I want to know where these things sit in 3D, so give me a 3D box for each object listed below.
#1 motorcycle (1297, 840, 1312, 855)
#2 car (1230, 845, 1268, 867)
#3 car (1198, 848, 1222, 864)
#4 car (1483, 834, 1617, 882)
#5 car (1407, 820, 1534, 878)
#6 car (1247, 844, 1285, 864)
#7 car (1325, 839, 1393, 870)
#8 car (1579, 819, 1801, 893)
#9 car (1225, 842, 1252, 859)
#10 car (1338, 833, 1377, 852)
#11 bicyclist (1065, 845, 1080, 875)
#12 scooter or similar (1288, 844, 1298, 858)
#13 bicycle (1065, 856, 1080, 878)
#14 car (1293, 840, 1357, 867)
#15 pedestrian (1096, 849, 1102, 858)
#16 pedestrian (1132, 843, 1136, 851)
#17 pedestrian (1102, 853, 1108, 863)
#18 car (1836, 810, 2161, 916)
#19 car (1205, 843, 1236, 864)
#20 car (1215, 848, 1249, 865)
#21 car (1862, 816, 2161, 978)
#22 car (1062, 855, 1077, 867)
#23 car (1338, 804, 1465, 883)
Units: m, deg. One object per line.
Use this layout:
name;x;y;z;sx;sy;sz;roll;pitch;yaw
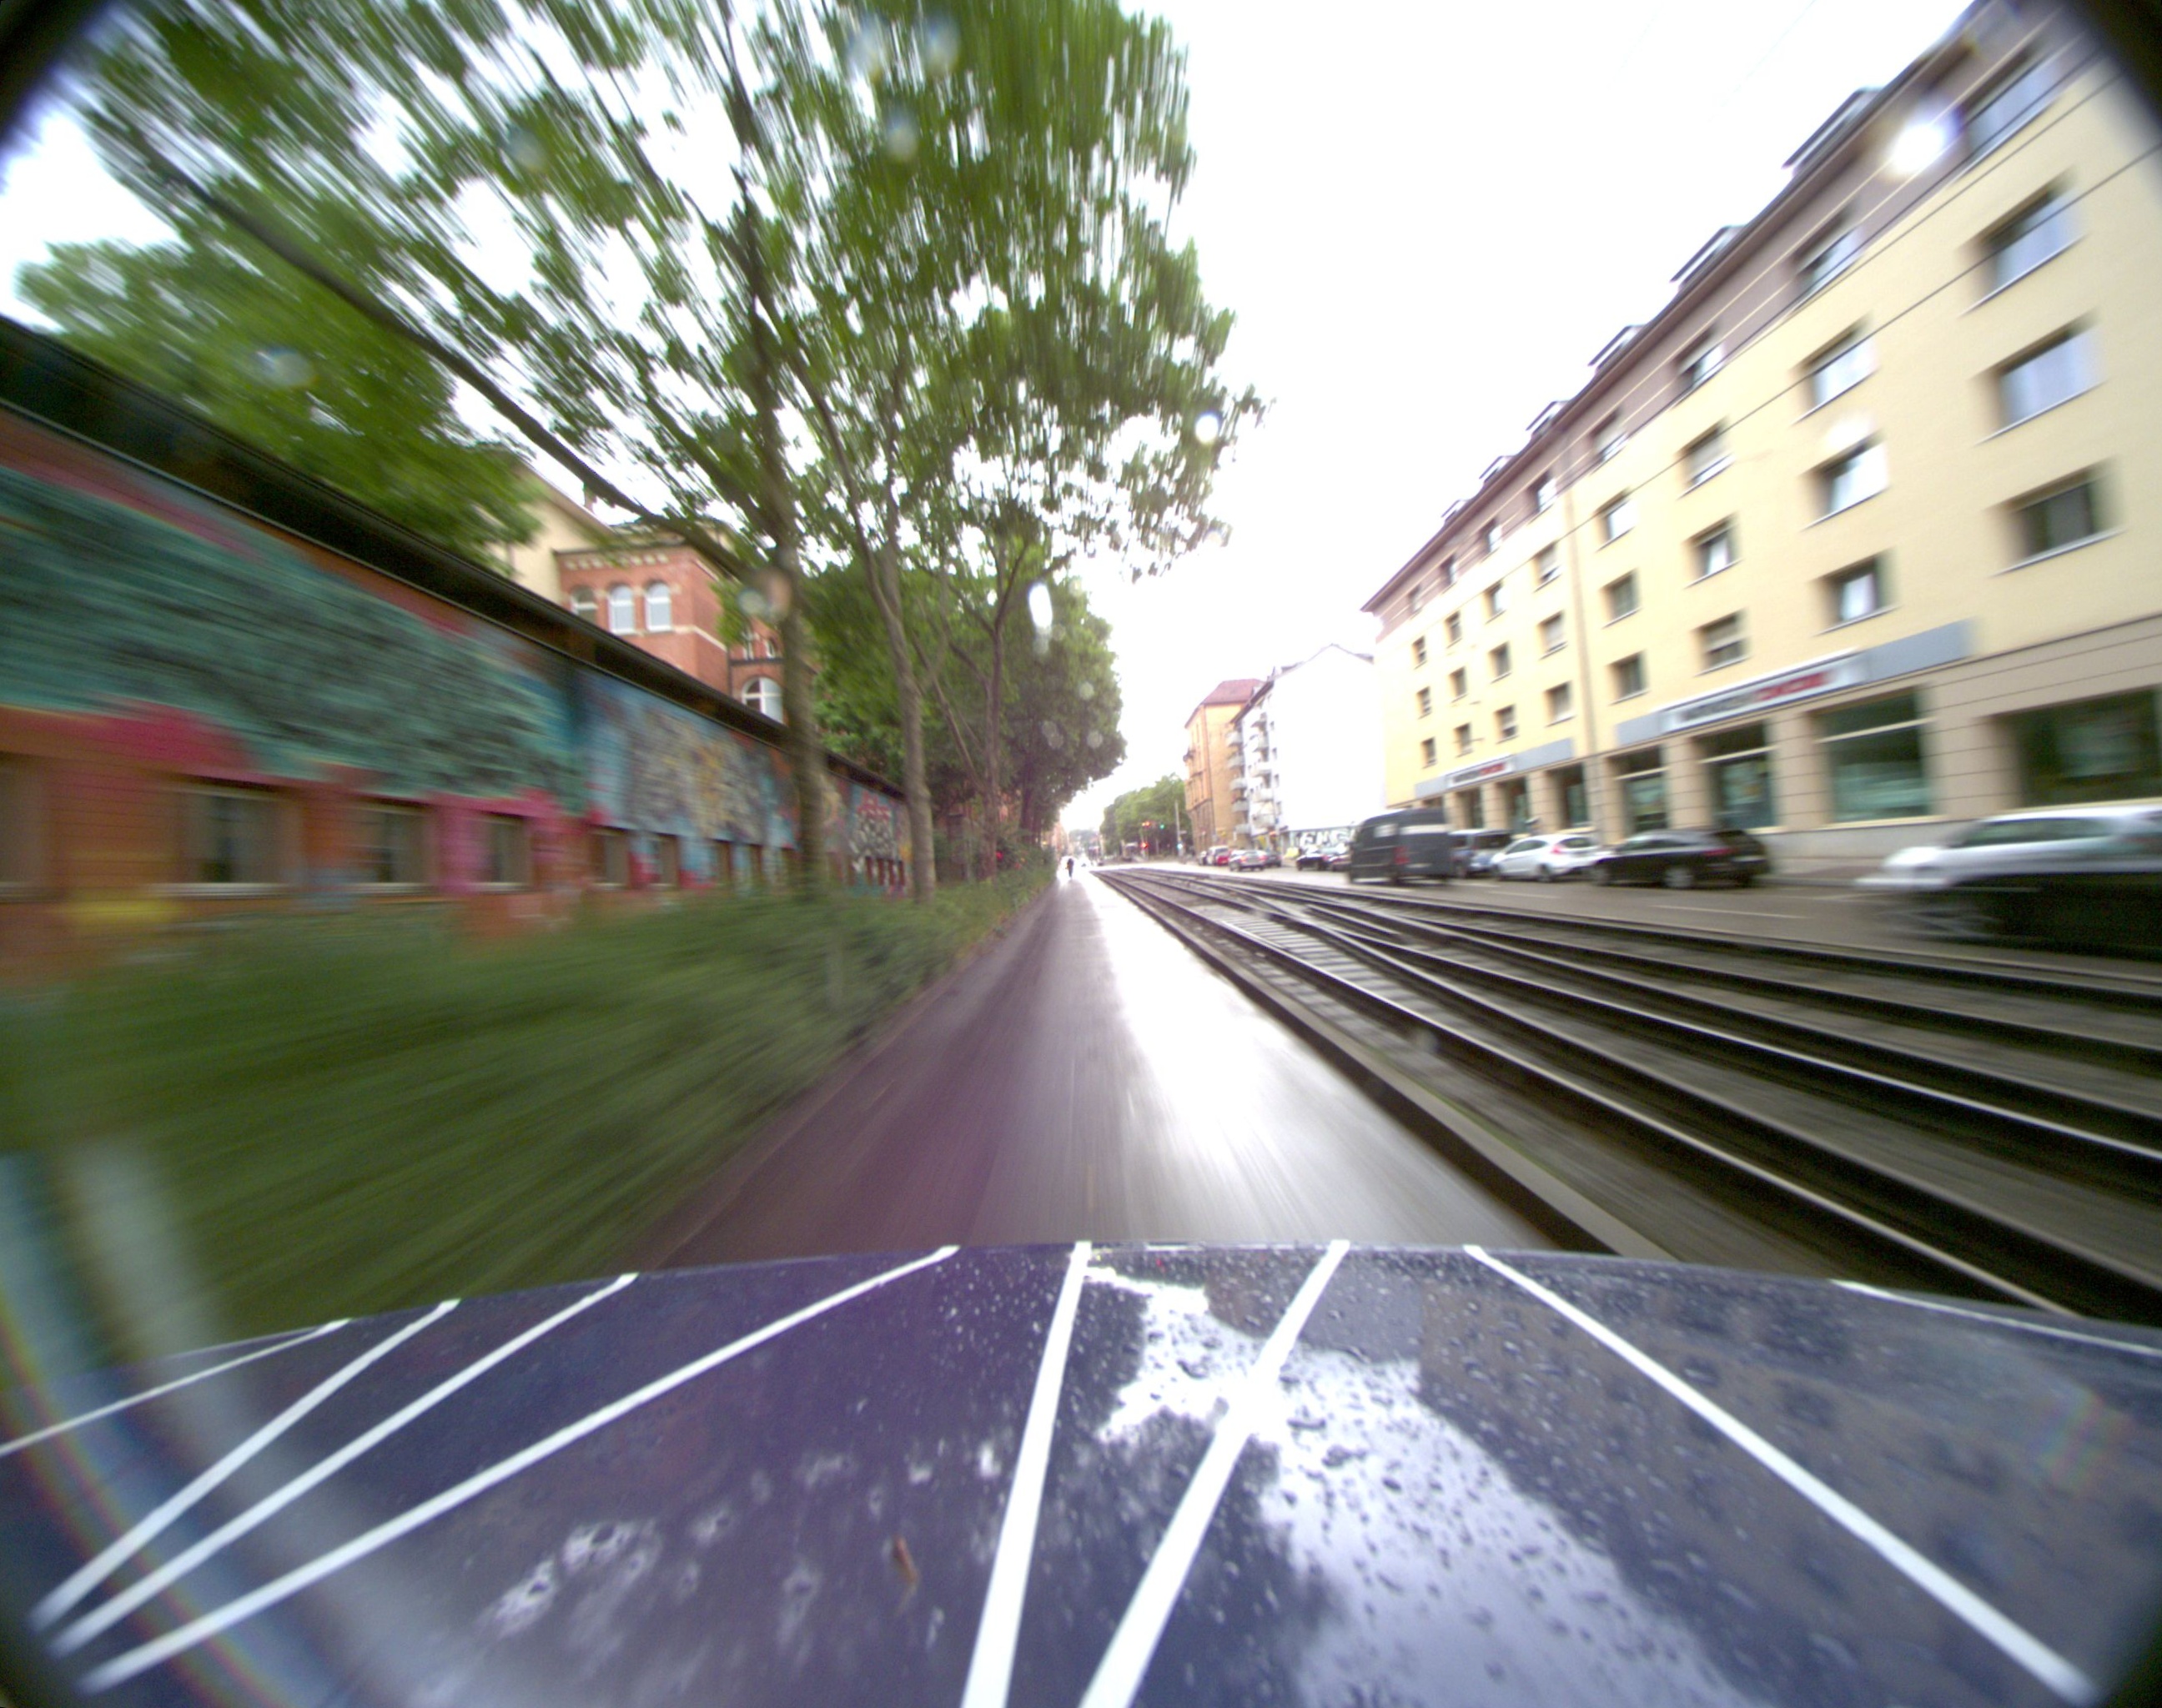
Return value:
motorcycle;20.202;-0.583;68.603;0.641;1.193;1.783;-7;2;-1
car;11.907;0.140;53.991;1.716;1.454;4.280;-3;0;0
car;14.596;0.243;86.104;1.737;1.641;4.363;-4;0;-1
car;15.037;0.131;24.661;1.696;1.431;4.048;0;0;-3
car;14.983;-0.167;29.686;1.998;1.893;5.459;-6;0;0
car;14.595;-0.029;60.143;1.684;1.388;4.621;-4;0;-1
car;15.135;-0.004;41.706;1.856;1.424;4.831;-5;0;0
car;15.014;0.055;19.143;1.818;1.490;4.582;-5;0;0
car;14.546;-0.335;70.430;1.657;1.443;4.074;-3;1;2
car;21.999;-0.915;60.643;1.875;1.296;4.480;-4;0;6
bicyclist;-0.646;0.441;58.232;0.921;2.250;1.287;-3;1;1
scooter or similar;19.364;-0.314;69.494;0.623;1.193;1.896;-6;-1;20
bicycle;-0.620;0.987;58.282;0.936;1.545;3.135;-3;0;2
car;14.944;-0.030;46.820;1.857;1.499;4.989;-4;0;-5
pedestrian;3.236;-0.036;135.750;0.837;1.595;1.001;-4;1;-2
pedestrian;12.869;-1.735;184.670;0.837;2.050;0.884;-4;1;-4
pedestrian;4.268;0.760;135.945;0.827;1.788;1.001;-4;1;-2
car;15.284;0.105;12.455;1.708;1.388;3.934;-4;0;-3
car;14.761;-0.039;80.662;2.075;1.997;5.301;-7;0;0
car;15.111;0.197;75.915;1.781;1.425;3.989;-4;1;34
car;10.781;0.353;7.111;1.885;1.477;4.855;-3;-1;0
car;-1.636;0.959;108.819;1.884;1.439;3.999;-4;1;-1
car;11.353;-0.384;27.513;1.998;2.438;5.997;-3;1;0
